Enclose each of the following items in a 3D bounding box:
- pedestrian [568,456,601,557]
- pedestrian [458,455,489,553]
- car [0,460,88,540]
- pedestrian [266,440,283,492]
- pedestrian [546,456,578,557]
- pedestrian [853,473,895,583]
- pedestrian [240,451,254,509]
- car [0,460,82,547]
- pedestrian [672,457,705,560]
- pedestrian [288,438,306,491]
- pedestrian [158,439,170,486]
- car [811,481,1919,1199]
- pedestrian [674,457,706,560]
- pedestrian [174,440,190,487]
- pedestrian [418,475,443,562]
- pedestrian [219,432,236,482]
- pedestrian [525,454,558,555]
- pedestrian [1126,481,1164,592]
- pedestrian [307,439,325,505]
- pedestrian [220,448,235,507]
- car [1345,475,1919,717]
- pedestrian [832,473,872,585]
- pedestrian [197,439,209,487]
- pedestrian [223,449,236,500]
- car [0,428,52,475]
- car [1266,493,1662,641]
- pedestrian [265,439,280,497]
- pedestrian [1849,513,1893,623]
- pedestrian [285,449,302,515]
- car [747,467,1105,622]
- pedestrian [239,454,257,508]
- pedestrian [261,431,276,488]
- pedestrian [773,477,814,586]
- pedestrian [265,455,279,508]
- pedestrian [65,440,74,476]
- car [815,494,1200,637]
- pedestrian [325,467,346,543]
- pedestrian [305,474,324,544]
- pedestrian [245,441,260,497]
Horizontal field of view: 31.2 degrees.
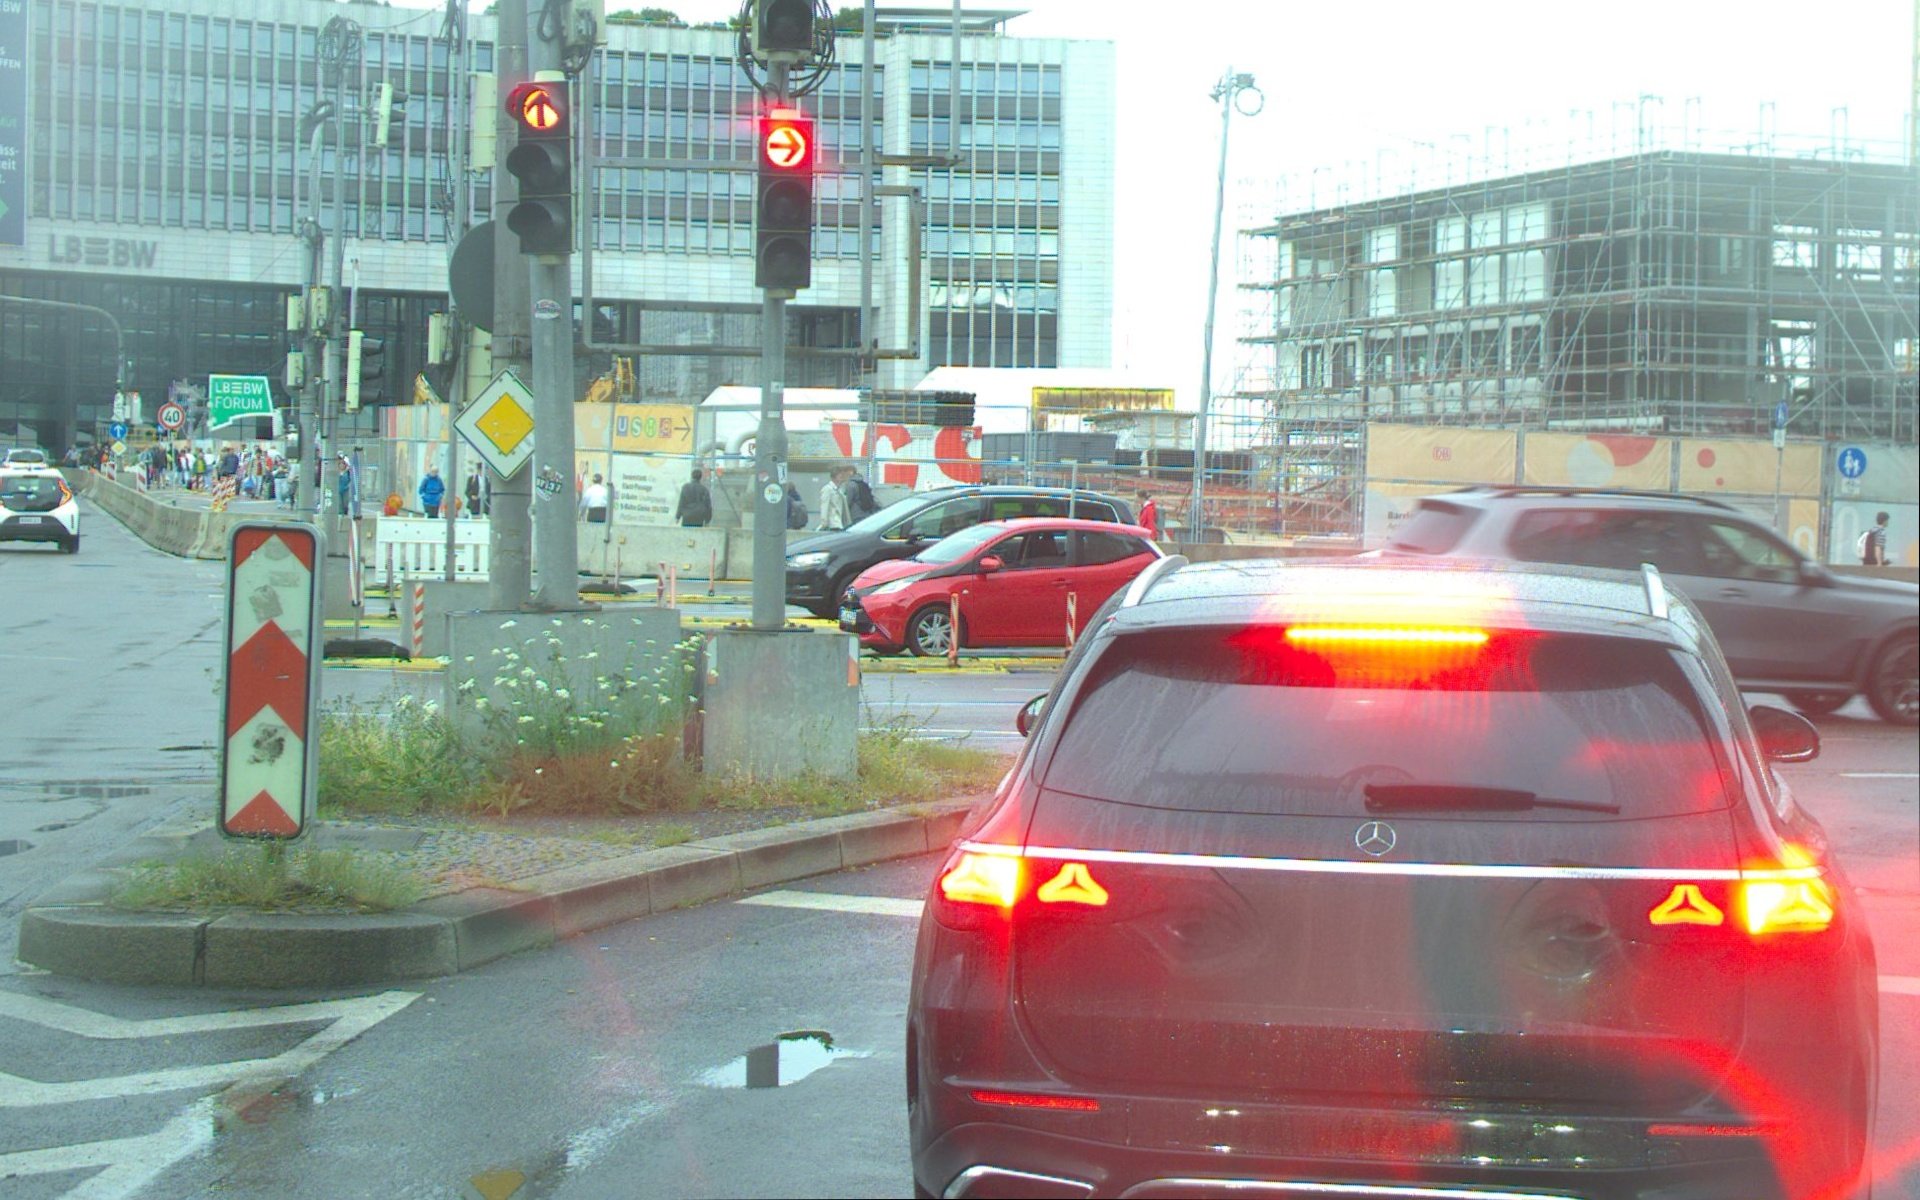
[{"bbox_3d":[-7.162,-1.781,65.595,0.361,1.891,0.576,2,0,-28],"label":"pedestrian"},{"bbox_3d":[-9.502,-1.875,67.162,0.361,1.891,0.576,2,0,-26],"label":"pedestrian"},{"bbox_3d":[-22.040,-2.358,81.791,1.993,1.760,4.420,2,0,-20],"label":"car"},{"bbox_3d":[-25.341,-4.949,127.078,0.519,1.891,0.576,2,0,-18],"label":"pedestrian"},{"bbox_3d":[-7.582,-1.779,65.438,0.361,1.891,0.576,1,0,-31],"label":"pedestrian"},{"bbox_3d":[-1.503,-1.257,60.042,0.575,1.891,0.362,2,0,25],"label":"pedestrian"},{"bbox_3d":[-23.767,-3.998,114.570,0.361,1.891,0.576,2,0,-14],"label":"pedestrian"},{"bbox_3d":[-16.916,-1.737,62.481,1.780,1.468,3.560,2,0,-15],"label":"car"},{"bbox_3d":[-5.071,-1.705,64.103,0.361,1.891,0.576,2,0,-26],"label":"pedestrian"},{"bbox_3d":[-23.998,-4.895,124.392,0.519,1.891,0.576,2,0,-18],"label":"pedestrian"},{"bbox_3d":[-32.692,-5.652,141.174,0.361,1.891,0.576,2,0,-18],"label":"pedestrian"},{"bbox_3d":[0.870,0.602,7.682,1.891,1.538,3.993,2,0,5],"label":"car"},{"bbox_3d":[-5.035,-1.704,64.098,0.361,1.891,0.576,2,0,-22],"label":"pedestrian"},{"bbox_3d":[-32.032,-5.631,141.604,0.519,1.891,0.576,2,0,-18],"label":"pedestrian"},{"bbox_3d":[-11.636,-1.782,75.550,0.361,1.891,0.576,2,0,-22],"label":"pedestrian"},{"bbox_3d":[-28.020,-5.467,131.587,0.519,1.891,0.576,2,0,-18],"label":"pedestrian"},{"bbox_3d":[-7.941,-1.807,65.263,0.361,1.891,0.576,2,0,-29],"label":"pedestrian"},{"bbox_3d":[3.197,-1.092,59.444,0.574,1.891,0.362,2,0,2],"label":"pedestrian"},{"bbox_3d":[-18.614,-3.694,99.339,0.361,1.891,0.576,2,0,-18],"label":"pedestrian"},{"bbox_3d":[-23.970,-4.000,112.551,0.361,1.891,0.576,2,0,-18],"label":"pedestrian"},{"bbox_3d":[5.960,-0.014,28.473,5.084,1.791,2.001,2,0,-11],"label":"car"},{"bbox_3d":[-1.850,-1.219,59.060,0.575,1.891,0.362,2,0,7],"label":"pedestrian"},{"bbox_3d":[-30.555,-5.540,138.823,0.361,1.891,0.576,2,0,-18],"label":"pedestrian"},{"bbox_3d":[-27.401,-4.701,128.943,0.361,1.891,0.576,2,0,-18],"label":"pedestrian"},{"bbox_3d":[-36.045,-5.724,132.120,1.727,1.634,3.436,2,3,-22],"label":"car"},{"bbox_3d":[5.843,-0.376,39.977,4.039,1.547,2.001,2,0,-20],"label":"car"},{"bbox_3d":[-22.603,-4.338,113.002,0.361,1.891,0.576,2,0,-18],"label":"pedestrian"},{"bbox_3d":[15.912,-0.562,60.032,0.574,1.891,0.362,2,0,-11],"label":"pedestrian"},{"bbox_3d":[-19.305,-3.404,99.570,0.361,1.891,0.576,2,0,-18],"label":"pedestrian"},{"bbox_3d":[-0.438,-0.672,42.586,3.985,1.728,2.001,2,0,-16],"label":"car"},{"bbox_3d":[-25.373,-4.233,122.482,0.519,1.891,0.576,2,0,-18],"label":"pedestrian"},{"bbox_3d":[-23.107,-4.686,114.831,0.361,1.891,0.576,2,0,-18],"label":"pedestrian"},{"bbox_3d":[-2.929,-1.210,60.562,0.575,1.891,0.362,2,0,13],"label":"pedestrian"},{"bbox_3d":[-24.710,-4.263,123.436,0.361,1.891,0.576,2,0,-18],"label":"pedestrian"},{"bbox_3d":[-47.287,-7.531,182.539,0.361,1.891,0.576,2,0,-15],"label":"pedestrian"},{"bbox_3d":[0.472,-0.345,35.053,3.532,1.300,1.666,2,0,-19],"label":"car"},{"bbox_3d":[-15.607,-2.375,85.905,0.361,1.891,0.576,2,0,-18],"label":"pedestrian"},{"bbox_3d":[-17.538,-2.466,93.443,0.361,1.891,0.576,2,0,-18],"label":"pedestrian"},{"bbox_3d":[-24.222,-4.492,117.724,0.361,1.891,0.576,2,0,-18],"label":"pedestrian"}]
